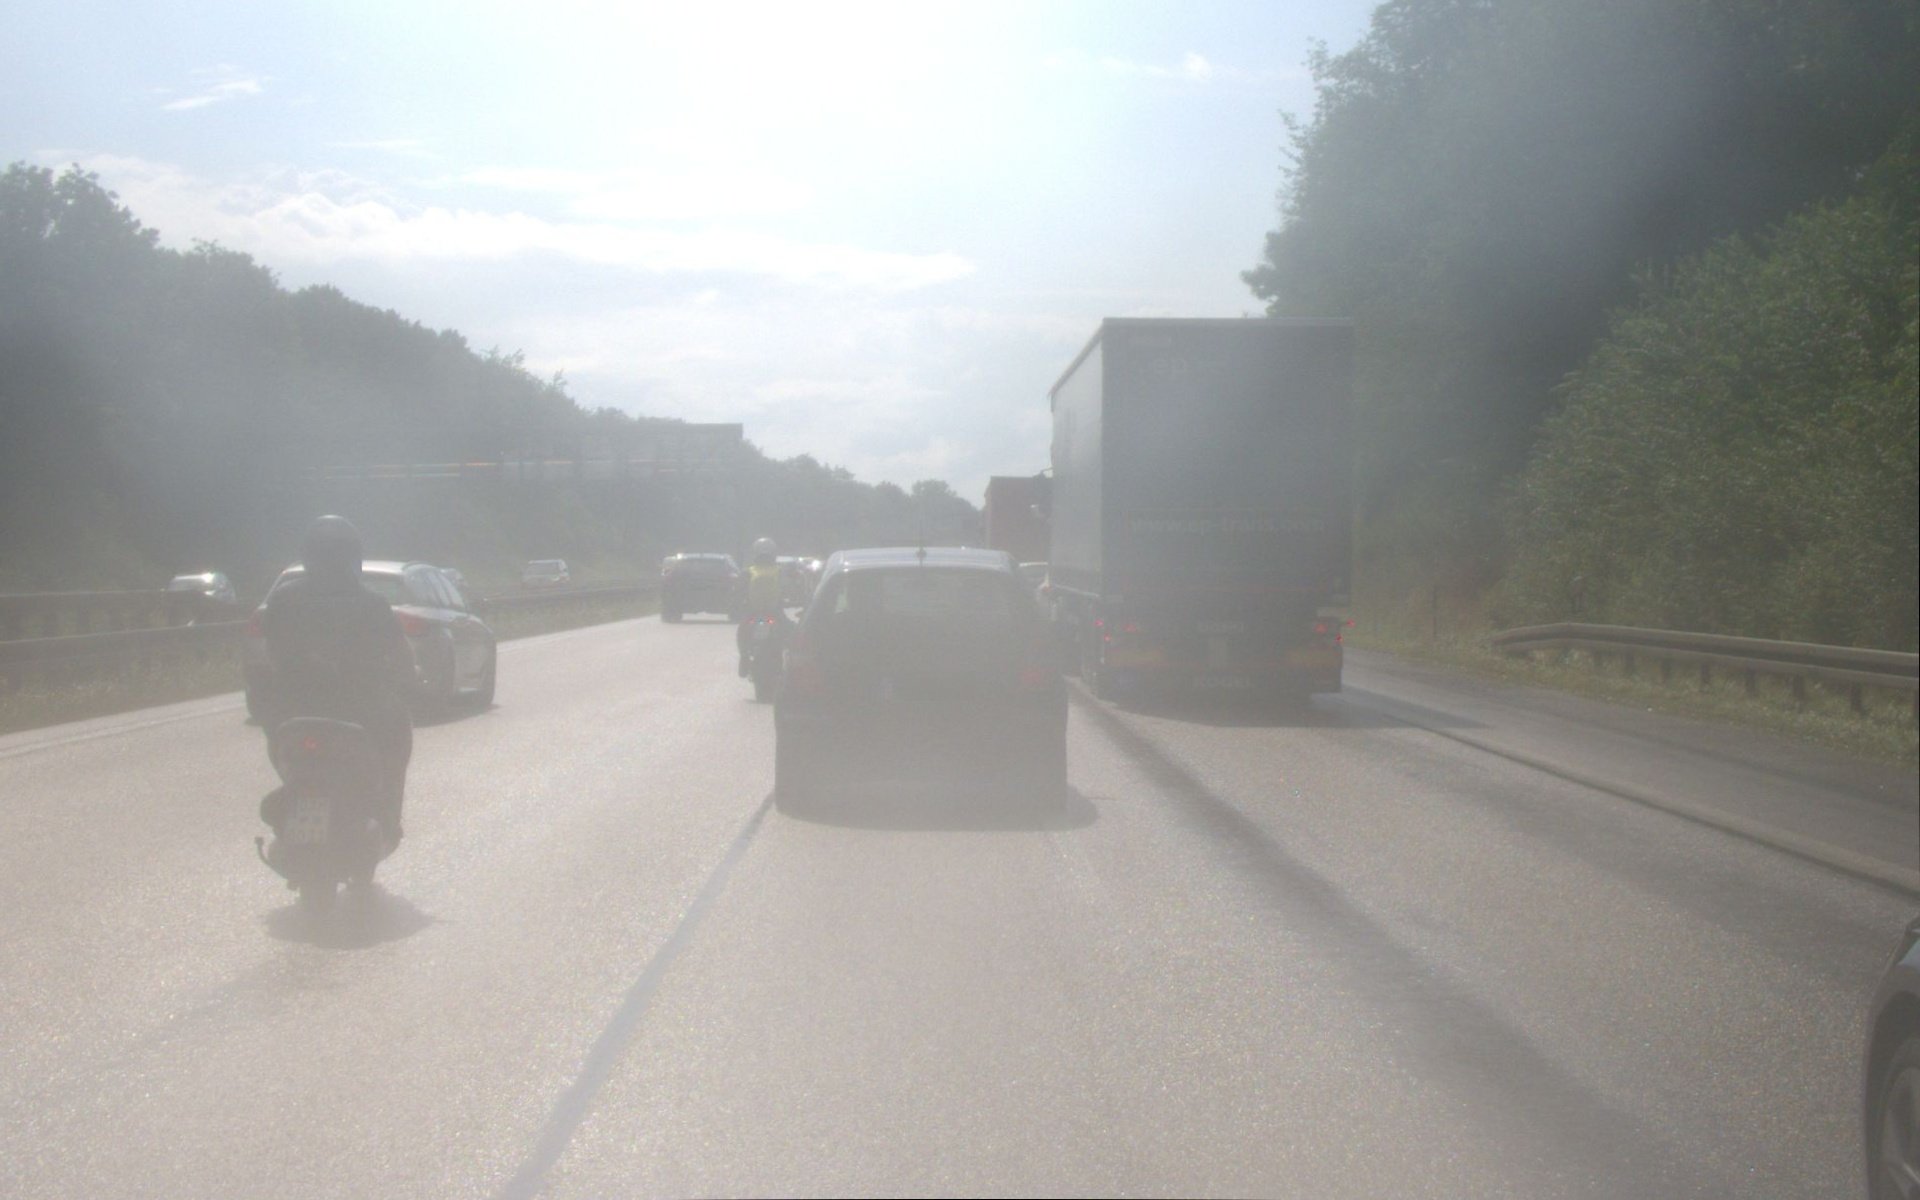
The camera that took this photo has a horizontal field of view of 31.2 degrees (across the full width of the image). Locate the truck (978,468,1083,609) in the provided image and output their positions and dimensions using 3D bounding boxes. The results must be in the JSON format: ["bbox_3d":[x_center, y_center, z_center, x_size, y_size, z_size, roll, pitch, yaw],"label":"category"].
[{"bbox_3d":[2.233,-1.960,112.264,3.202,4.389,9.432,0,1,0],"label":"truck"}]

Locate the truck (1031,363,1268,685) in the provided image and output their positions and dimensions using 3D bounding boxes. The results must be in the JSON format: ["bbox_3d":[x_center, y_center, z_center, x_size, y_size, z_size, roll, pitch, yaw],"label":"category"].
[{"bbox_3d":[2.620,-1.055,49.313,3.052,4.310,5.886,1,1,0],"label":"truck"}]

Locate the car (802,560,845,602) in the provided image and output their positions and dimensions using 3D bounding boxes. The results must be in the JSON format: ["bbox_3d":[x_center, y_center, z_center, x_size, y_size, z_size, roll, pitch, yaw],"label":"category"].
[{"bbox_3d":[-6.698,-0.949,168.812,1.993,2.007,4.000,1,0,-1],"label":"car"}]

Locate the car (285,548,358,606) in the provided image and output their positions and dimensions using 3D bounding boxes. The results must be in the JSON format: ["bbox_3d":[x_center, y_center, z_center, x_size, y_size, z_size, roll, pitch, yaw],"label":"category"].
[{"bbox_3d":[-23.461,-0.866,126.408,1.993,2.007,4.000,1,1,-1],"label":"car"}]

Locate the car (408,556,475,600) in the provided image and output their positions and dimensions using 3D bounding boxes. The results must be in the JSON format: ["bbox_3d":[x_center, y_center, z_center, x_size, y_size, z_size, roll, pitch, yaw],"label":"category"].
[{"bbox_3d":[-19.146,-0.832,127.022,1.921,1.575,4.000,-1,1,-1],"label":"car"}]

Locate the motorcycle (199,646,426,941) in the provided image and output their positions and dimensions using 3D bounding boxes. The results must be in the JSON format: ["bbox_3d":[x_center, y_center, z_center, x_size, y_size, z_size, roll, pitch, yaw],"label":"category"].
[{"bbox_3d":[-2.666,0.764,14.330,0.676,1.083,1.982,1,1,-4],"label":"motorcycle"}]

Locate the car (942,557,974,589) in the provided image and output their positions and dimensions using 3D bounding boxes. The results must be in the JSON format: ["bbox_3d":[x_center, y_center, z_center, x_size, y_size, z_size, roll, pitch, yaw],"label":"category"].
[{"bbox_3d":[-0.139,-1.749,223.306,1.993,2.007,4.000,1,0,-1],"label":"car"}]

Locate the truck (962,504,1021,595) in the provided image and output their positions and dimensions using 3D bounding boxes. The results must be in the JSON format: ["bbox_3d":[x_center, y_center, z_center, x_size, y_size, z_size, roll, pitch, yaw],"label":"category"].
[{"bbox_3d":[1.627,-2.667,184.219,2.882,4.671,12.659,1,0,-1],"label":"truck"}]

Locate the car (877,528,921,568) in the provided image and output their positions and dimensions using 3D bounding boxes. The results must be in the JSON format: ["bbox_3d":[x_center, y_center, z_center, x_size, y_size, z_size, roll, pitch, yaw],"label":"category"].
[{"bbox_3d":[-2.318,-1.949,130.346,1.631,1.485,3.437,0,1,-1],"label":"car"}]

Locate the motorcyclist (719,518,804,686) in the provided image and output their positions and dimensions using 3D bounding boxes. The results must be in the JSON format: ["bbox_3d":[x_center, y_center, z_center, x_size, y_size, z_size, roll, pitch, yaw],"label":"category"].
[{"bbox_3d":[-2.116,0.015,36.842,0.821,1.755,1.390,1,0,0],"label":"motorcyclist"}]

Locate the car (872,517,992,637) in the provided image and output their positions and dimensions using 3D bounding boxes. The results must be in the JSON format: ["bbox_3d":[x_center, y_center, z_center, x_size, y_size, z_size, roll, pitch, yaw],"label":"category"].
[{"bbox_3d":[-0.510,-0.402,59.838,1.993,2.007,4.000,1,0,-1],"label":"car"}]

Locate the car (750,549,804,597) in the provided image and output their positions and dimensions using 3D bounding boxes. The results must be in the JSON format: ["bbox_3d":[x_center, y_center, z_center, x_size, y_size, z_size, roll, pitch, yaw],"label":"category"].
[{"bbox_3d":[-6.162,-0.919,115.856,1.675,1.591,3.437,0,1,-1],"label":"car"}]

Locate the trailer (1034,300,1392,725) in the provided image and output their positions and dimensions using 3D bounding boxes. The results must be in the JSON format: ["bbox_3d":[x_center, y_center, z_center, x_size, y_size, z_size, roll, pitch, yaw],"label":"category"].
[{"bbox_3d":[2.714,-0.962,41.904,3.088,4.298,14.106,0,1,-1],"label":"trailer"}]

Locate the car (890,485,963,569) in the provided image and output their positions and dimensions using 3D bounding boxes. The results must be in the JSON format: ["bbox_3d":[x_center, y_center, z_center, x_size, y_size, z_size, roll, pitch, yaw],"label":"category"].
[{"bbox_3d":[-0.797,-1.697,80.868,1.675,1.929,3.773,0,1,-1],"label":"car"}]

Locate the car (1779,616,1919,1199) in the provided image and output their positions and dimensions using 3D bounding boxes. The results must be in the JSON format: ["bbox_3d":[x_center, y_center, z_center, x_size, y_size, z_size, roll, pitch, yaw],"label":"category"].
[{"bbox_3d":[2.638,0.757,5.065,1.755,1.391,4.368,0,1,-1],"label":"car"}]

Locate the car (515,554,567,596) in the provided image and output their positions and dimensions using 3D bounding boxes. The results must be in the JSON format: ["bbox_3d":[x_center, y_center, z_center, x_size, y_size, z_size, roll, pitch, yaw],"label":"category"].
[{"bbox_3d":[-19.454,-1.153,159.733,1.924,1.905,4.289,-1,1,0],"label":"car"}]

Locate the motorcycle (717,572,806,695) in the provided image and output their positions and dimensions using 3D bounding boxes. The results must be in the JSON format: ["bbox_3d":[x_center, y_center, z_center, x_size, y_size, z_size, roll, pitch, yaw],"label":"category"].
[{"bbox_3d":[-2.117,0.340,36.918,0.819,1.258,2.117,1,1,0],"label":"motorcycle"}]

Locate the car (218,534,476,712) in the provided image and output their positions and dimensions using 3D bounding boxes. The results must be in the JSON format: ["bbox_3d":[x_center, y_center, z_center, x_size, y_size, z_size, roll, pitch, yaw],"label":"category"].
[{"bbox_3d":[-5.807,0.183,33.032,1.758,1.589,4.331,0,1,-1],"label":"car"}]

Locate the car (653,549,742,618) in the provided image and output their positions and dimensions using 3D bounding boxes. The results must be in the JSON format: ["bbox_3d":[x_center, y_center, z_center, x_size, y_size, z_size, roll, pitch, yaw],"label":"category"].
[{"bbox_3d":[-6.298,-0.411,82.840,1.893,1.622,4.195,0,1,-1],"label":"car"}]

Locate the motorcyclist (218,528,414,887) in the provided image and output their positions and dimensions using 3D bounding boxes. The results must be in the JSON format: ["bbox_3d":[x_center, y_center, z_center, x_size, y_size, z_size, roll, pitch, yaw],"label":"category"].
[{"bbox_3d":[-2.662,0.429,14.290,0.670,1.437,1.020,1,0,-4],"label":"motorcyclist"}]

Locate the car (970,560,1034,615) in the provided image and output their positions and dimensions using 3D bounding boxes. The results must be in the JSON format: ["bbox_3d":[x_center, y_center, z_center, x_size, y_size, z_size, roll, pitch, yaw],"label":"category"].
[{"bbox_3d":[1.150,-0.356,95.385,1.675,1.485,3.437,0,1,-1],"label":"car"}]

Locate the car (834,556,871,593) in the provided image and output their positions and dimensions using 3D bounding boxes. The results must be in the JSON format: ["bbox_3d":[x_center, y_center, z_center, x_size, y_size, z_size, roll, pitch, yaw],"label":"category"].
[{"bbox_3d":[-5.932,-1.392,189.764,1.993,2.007,4.000,1,0,-1],"label":"car"}]

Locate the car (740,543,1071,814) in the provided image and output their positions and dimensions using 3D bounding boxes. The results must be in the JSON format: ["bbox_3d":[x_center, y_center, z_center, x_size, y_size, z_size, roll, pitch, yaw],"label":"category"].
[{"bbox_3d":[-0.348,0.431,22.080,1.915,1.560,4.314,0,1,-1],"label":"car"}]
